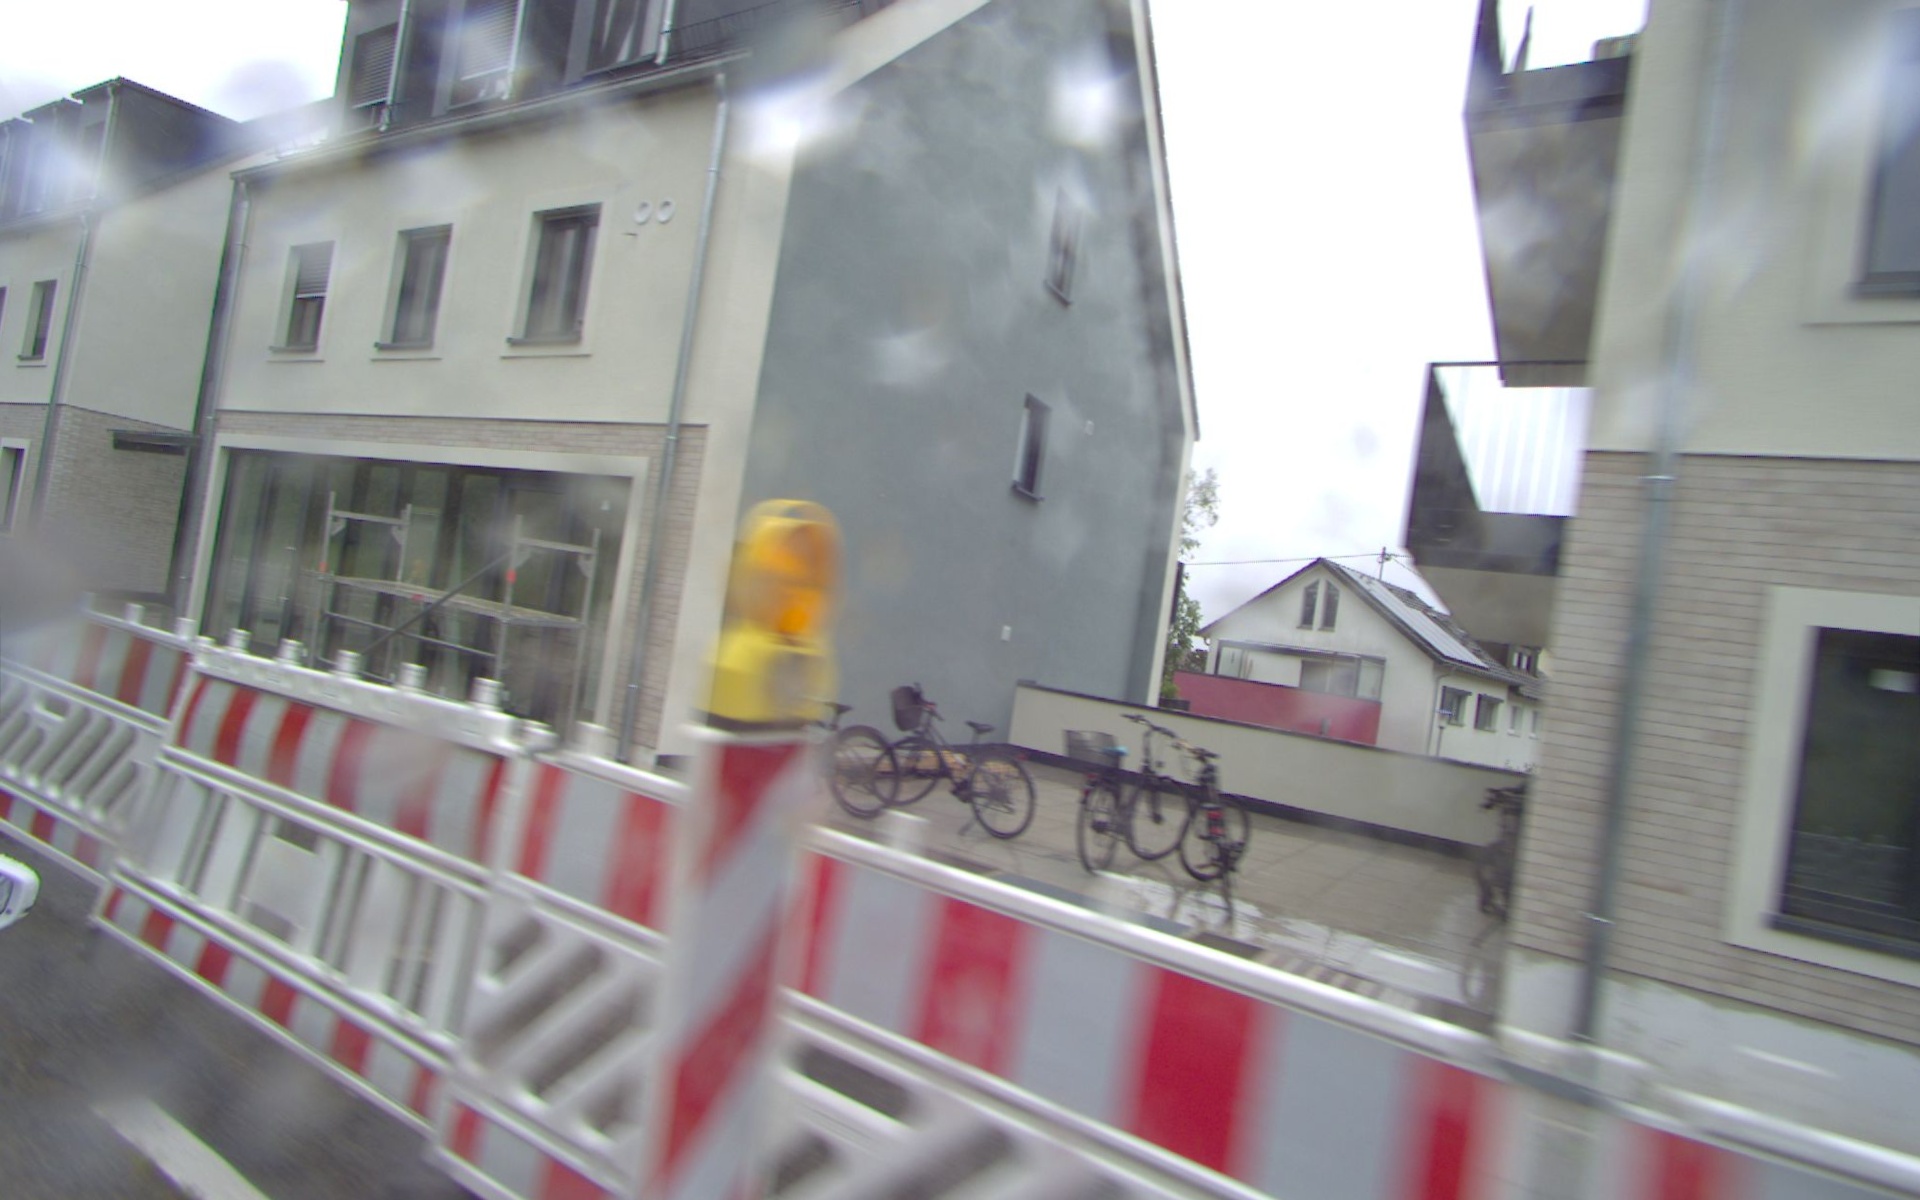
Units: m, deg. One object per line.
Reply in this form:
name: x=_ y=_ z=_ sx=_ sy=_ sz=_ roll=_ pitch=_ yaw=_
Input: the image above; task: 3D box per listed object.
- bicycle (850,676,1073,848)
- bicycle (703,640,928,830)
bicycle: x=-0.014 y=1.340 z=8.584 sx=1.760 sy=1.114 sz=0.519 roll=6 pitch=-3 yaw=33
bicycle: x=-1.213 y=1.066 z=8.257 sx=1.760 sy=1.233 sz=0.519 roll=6 pitch=-3 yaw=33
